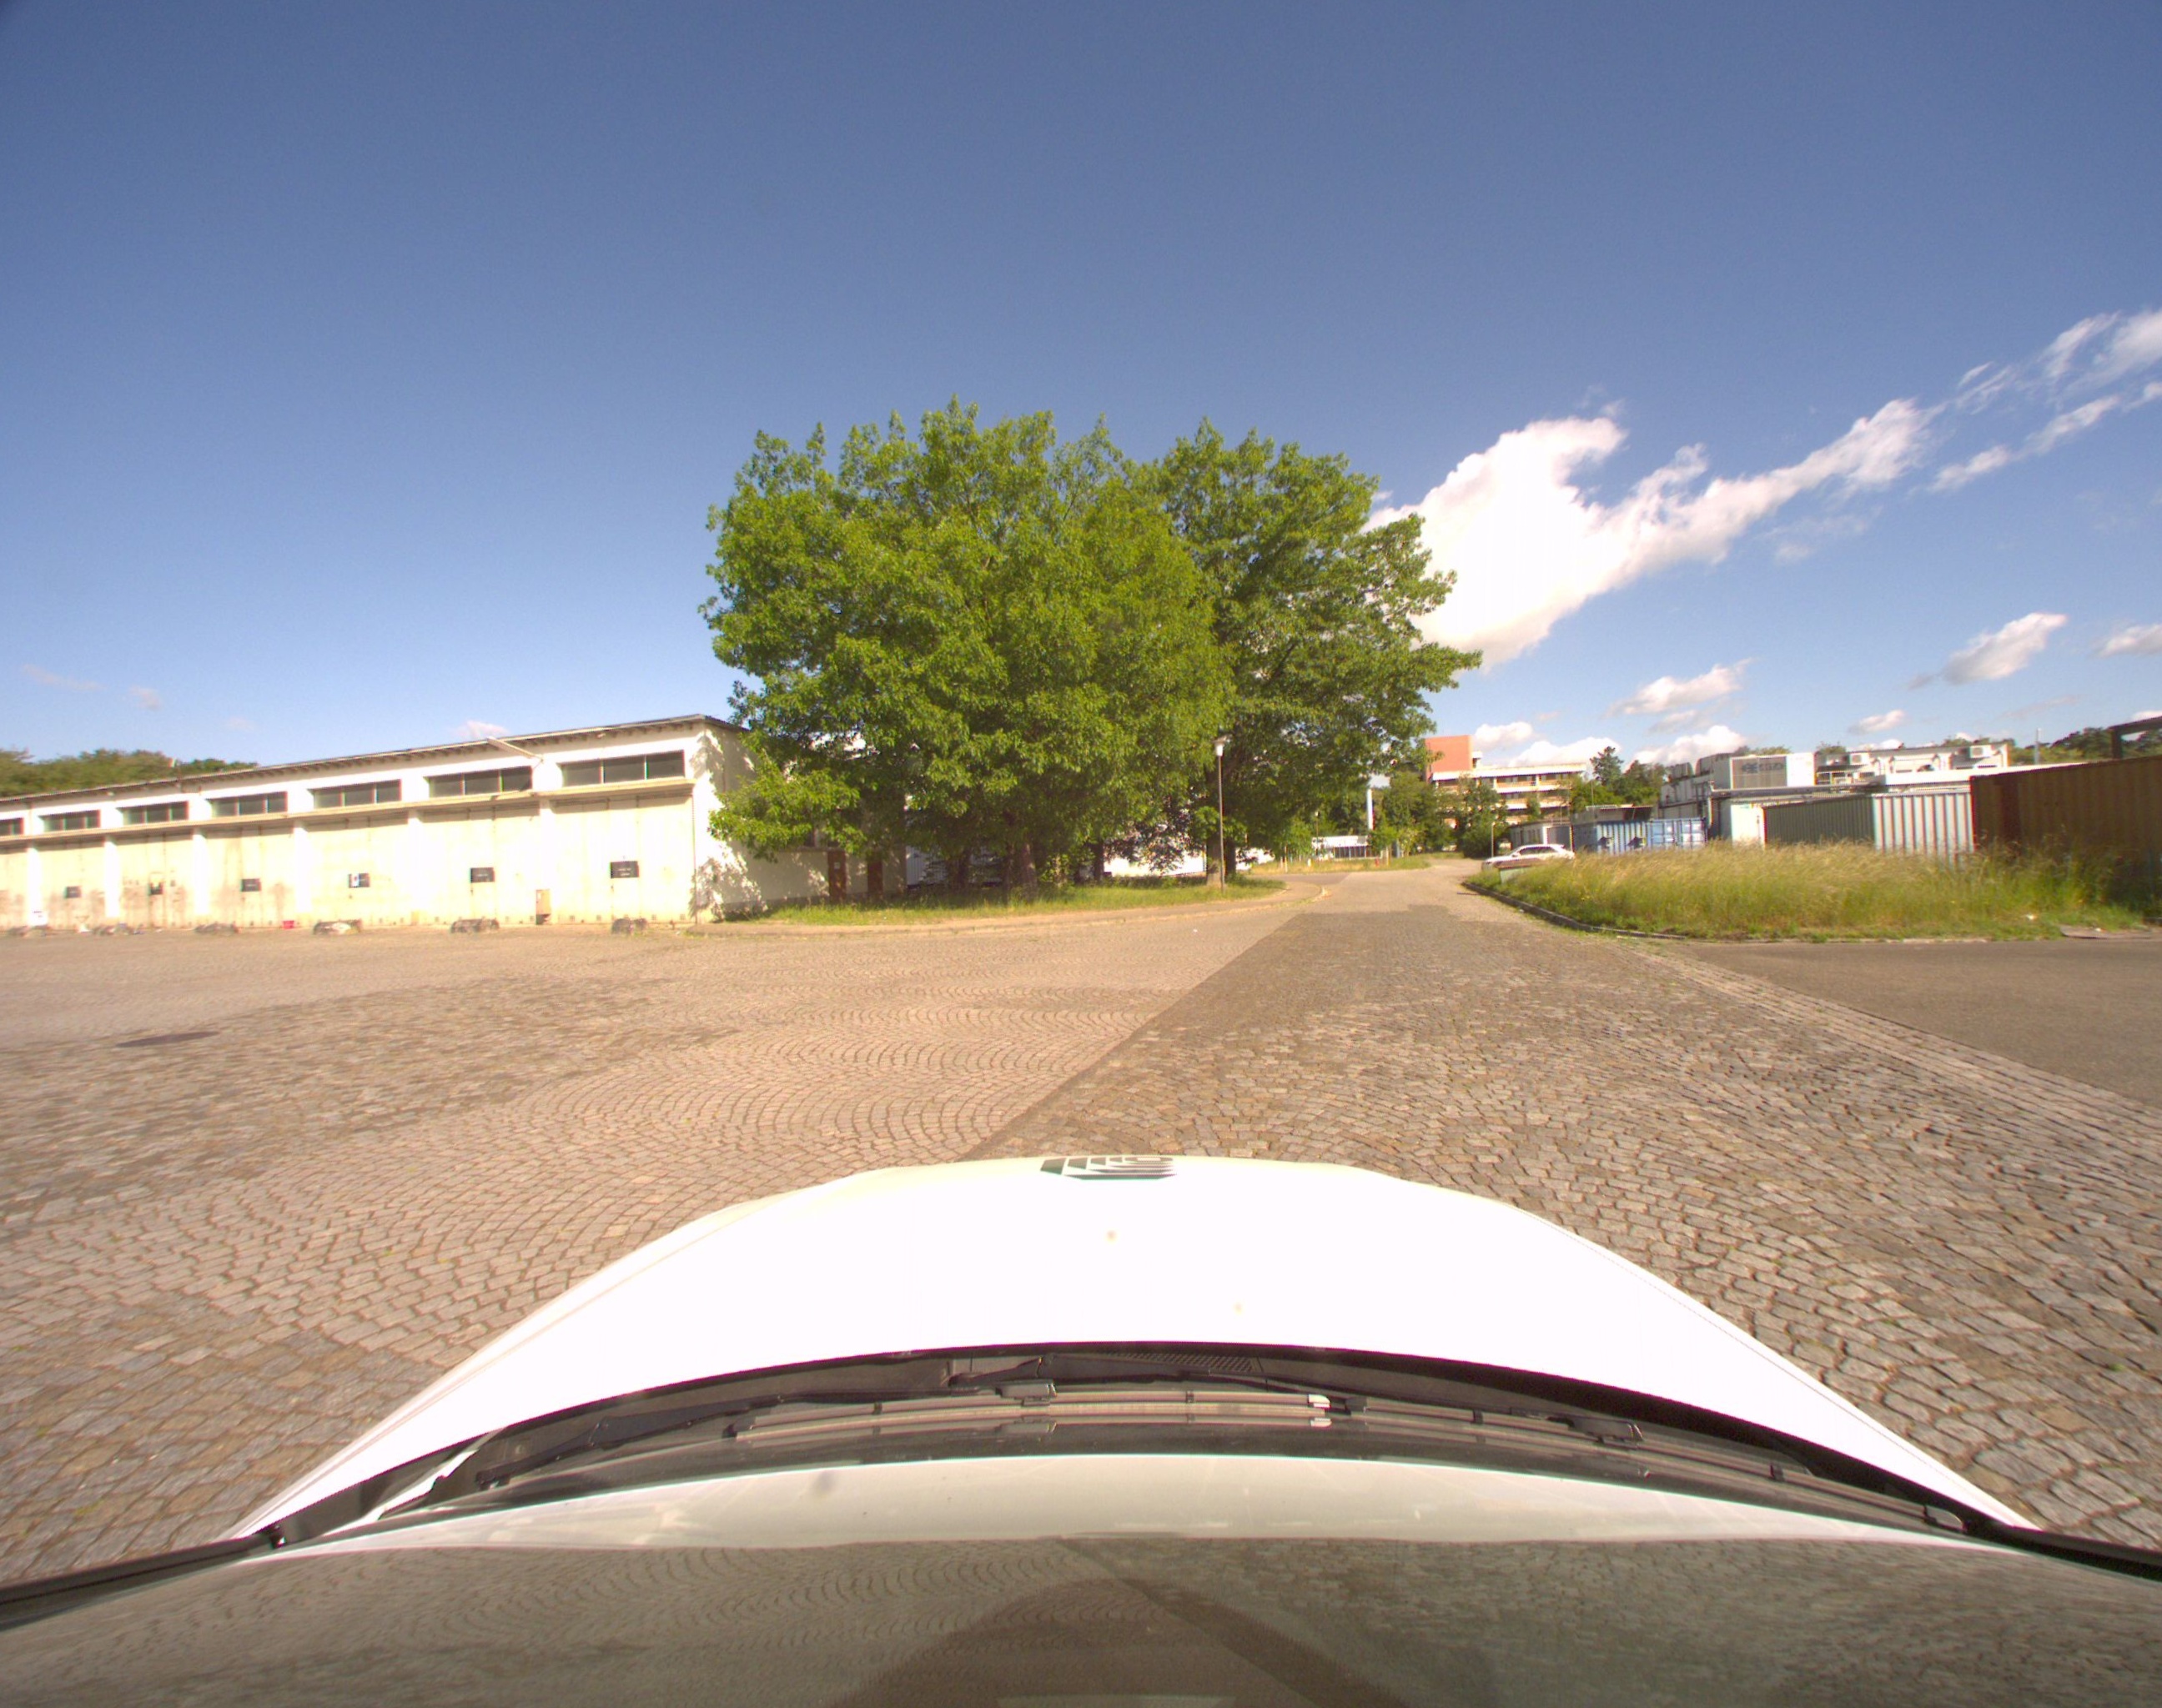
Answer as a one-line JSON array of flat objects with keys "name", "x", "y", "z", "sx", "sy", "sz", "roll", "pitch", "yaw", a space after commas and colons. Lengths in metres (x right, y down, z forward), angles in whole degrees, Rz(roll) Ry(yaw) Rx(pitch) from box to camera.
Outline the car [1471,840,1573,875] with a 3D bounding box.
[{"name": "car", "x": 23.812, "y": 0.203, "z": 44.158, "sx": 4.549, "sy": 1.677, "sz": 1.884, "roll": -2, "pitch": -1, "yaw": 19}]
